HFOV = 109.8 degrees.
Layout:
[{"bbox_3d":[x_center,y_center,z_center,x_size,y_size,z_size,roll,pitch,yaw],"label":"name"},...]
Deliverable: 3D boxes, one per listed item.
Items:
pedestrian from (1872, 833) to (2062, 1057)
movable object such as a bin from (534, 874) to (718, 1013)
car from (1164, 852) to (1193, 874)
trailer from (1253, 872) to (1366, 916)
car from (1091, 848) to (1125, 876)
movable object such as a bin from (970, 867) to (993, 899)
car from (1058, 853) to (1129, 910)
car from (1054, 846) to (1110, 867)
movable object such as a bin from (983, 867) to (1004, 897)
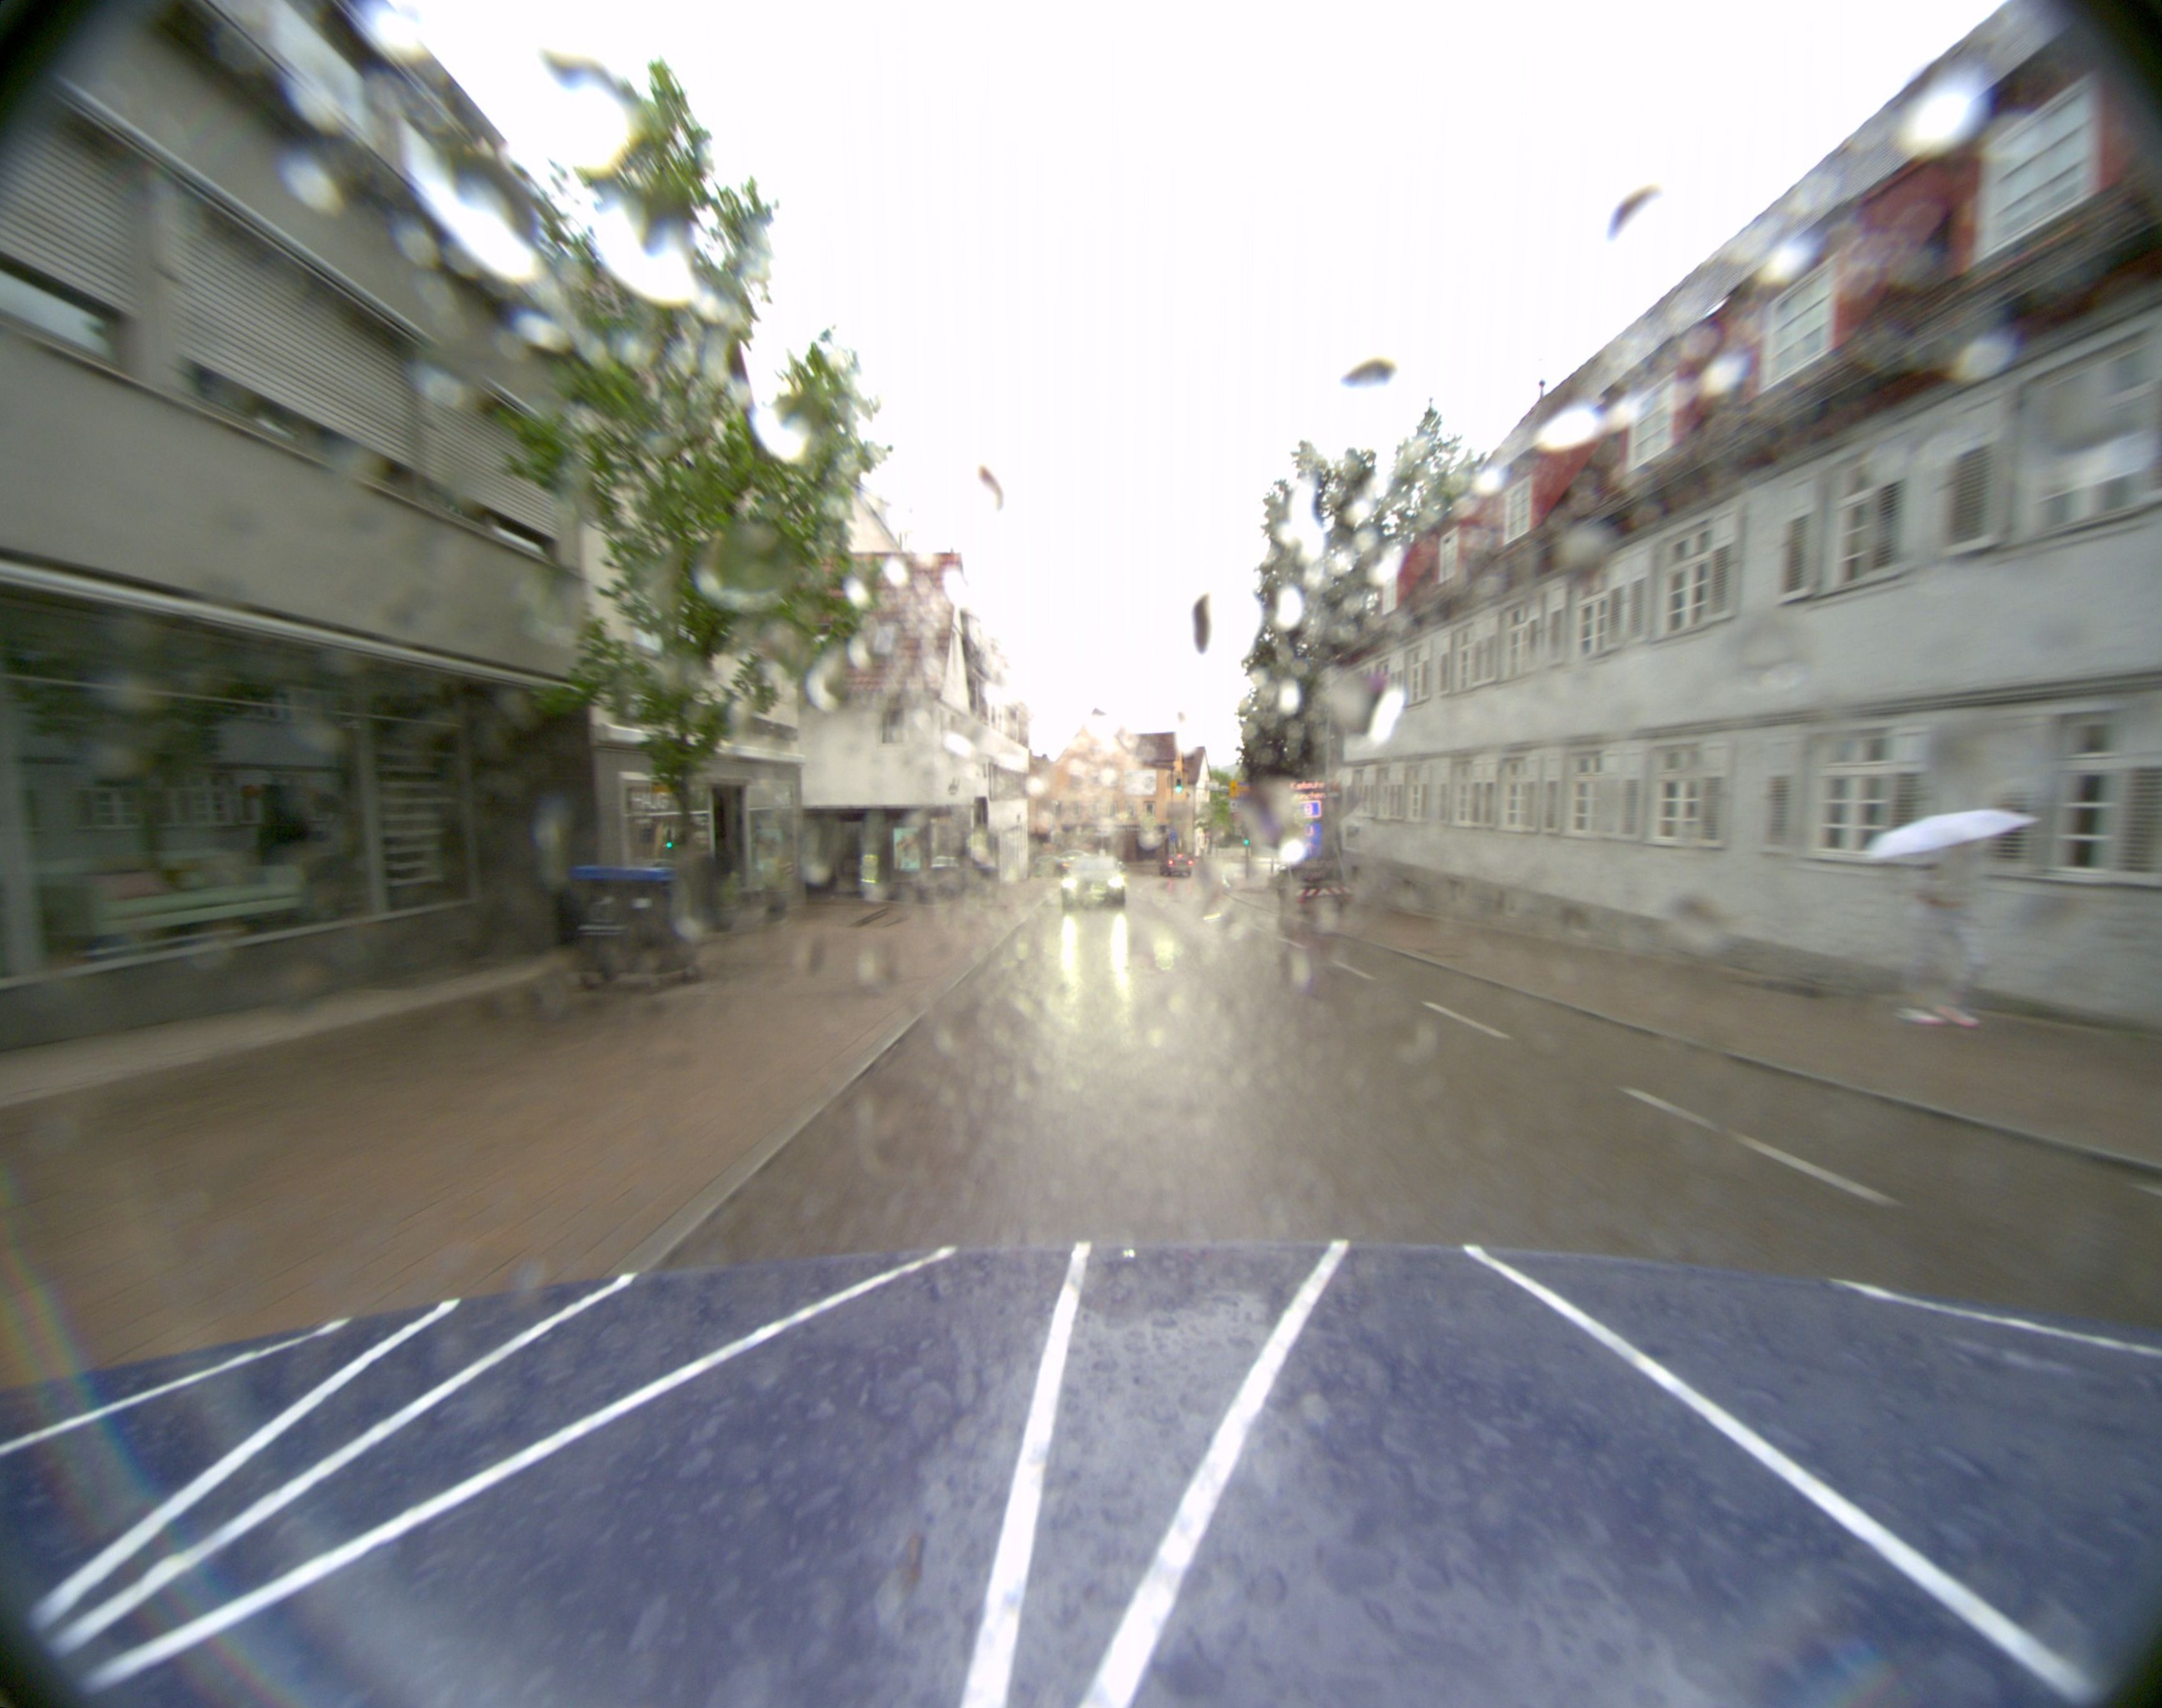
[{"bbox_3d":[7.301,0.711,6.303,0.690,1.730,0.735,-2,1,3],"label":"pedestrian"},{"bbox_3d":[-4.810,0.905,8.138,1.237,1.327,1.172,1,0,2],"label":"movable object such as a bin"},{"bbox_3d":[6.753,0.608,52.958,1.612,1.463,3.586,1,0,1],"label":"car"},{"bbox_3d":[6.271,1.071,21.384,1.998,0.900,4.477,-2,1,3],"label":"trailer"},{"bbox_3d":[1.650,0.466,46.980,1.967,1.598,4.383,0,0,2],"label":"car"},{"bbox_3d":[-3.286,0.947,25.084,0.571,1.022,0.467,1,1,-40],"label":"movable object such as a bin"},{"bbox_3d":[0.393,0.768,23.393,1.967,1.549,4.622,0,1,1],"label":"car"},{"bbox_3d":[0.040,0.178,63.751,4.370,1.598,1.973,2,1,38],"label":"car"},{"bbox_3d":[-3.014,0.958,26.193,0.596,1.022,0.476,2,1,2],"label":"movable object such as a bin"}]
